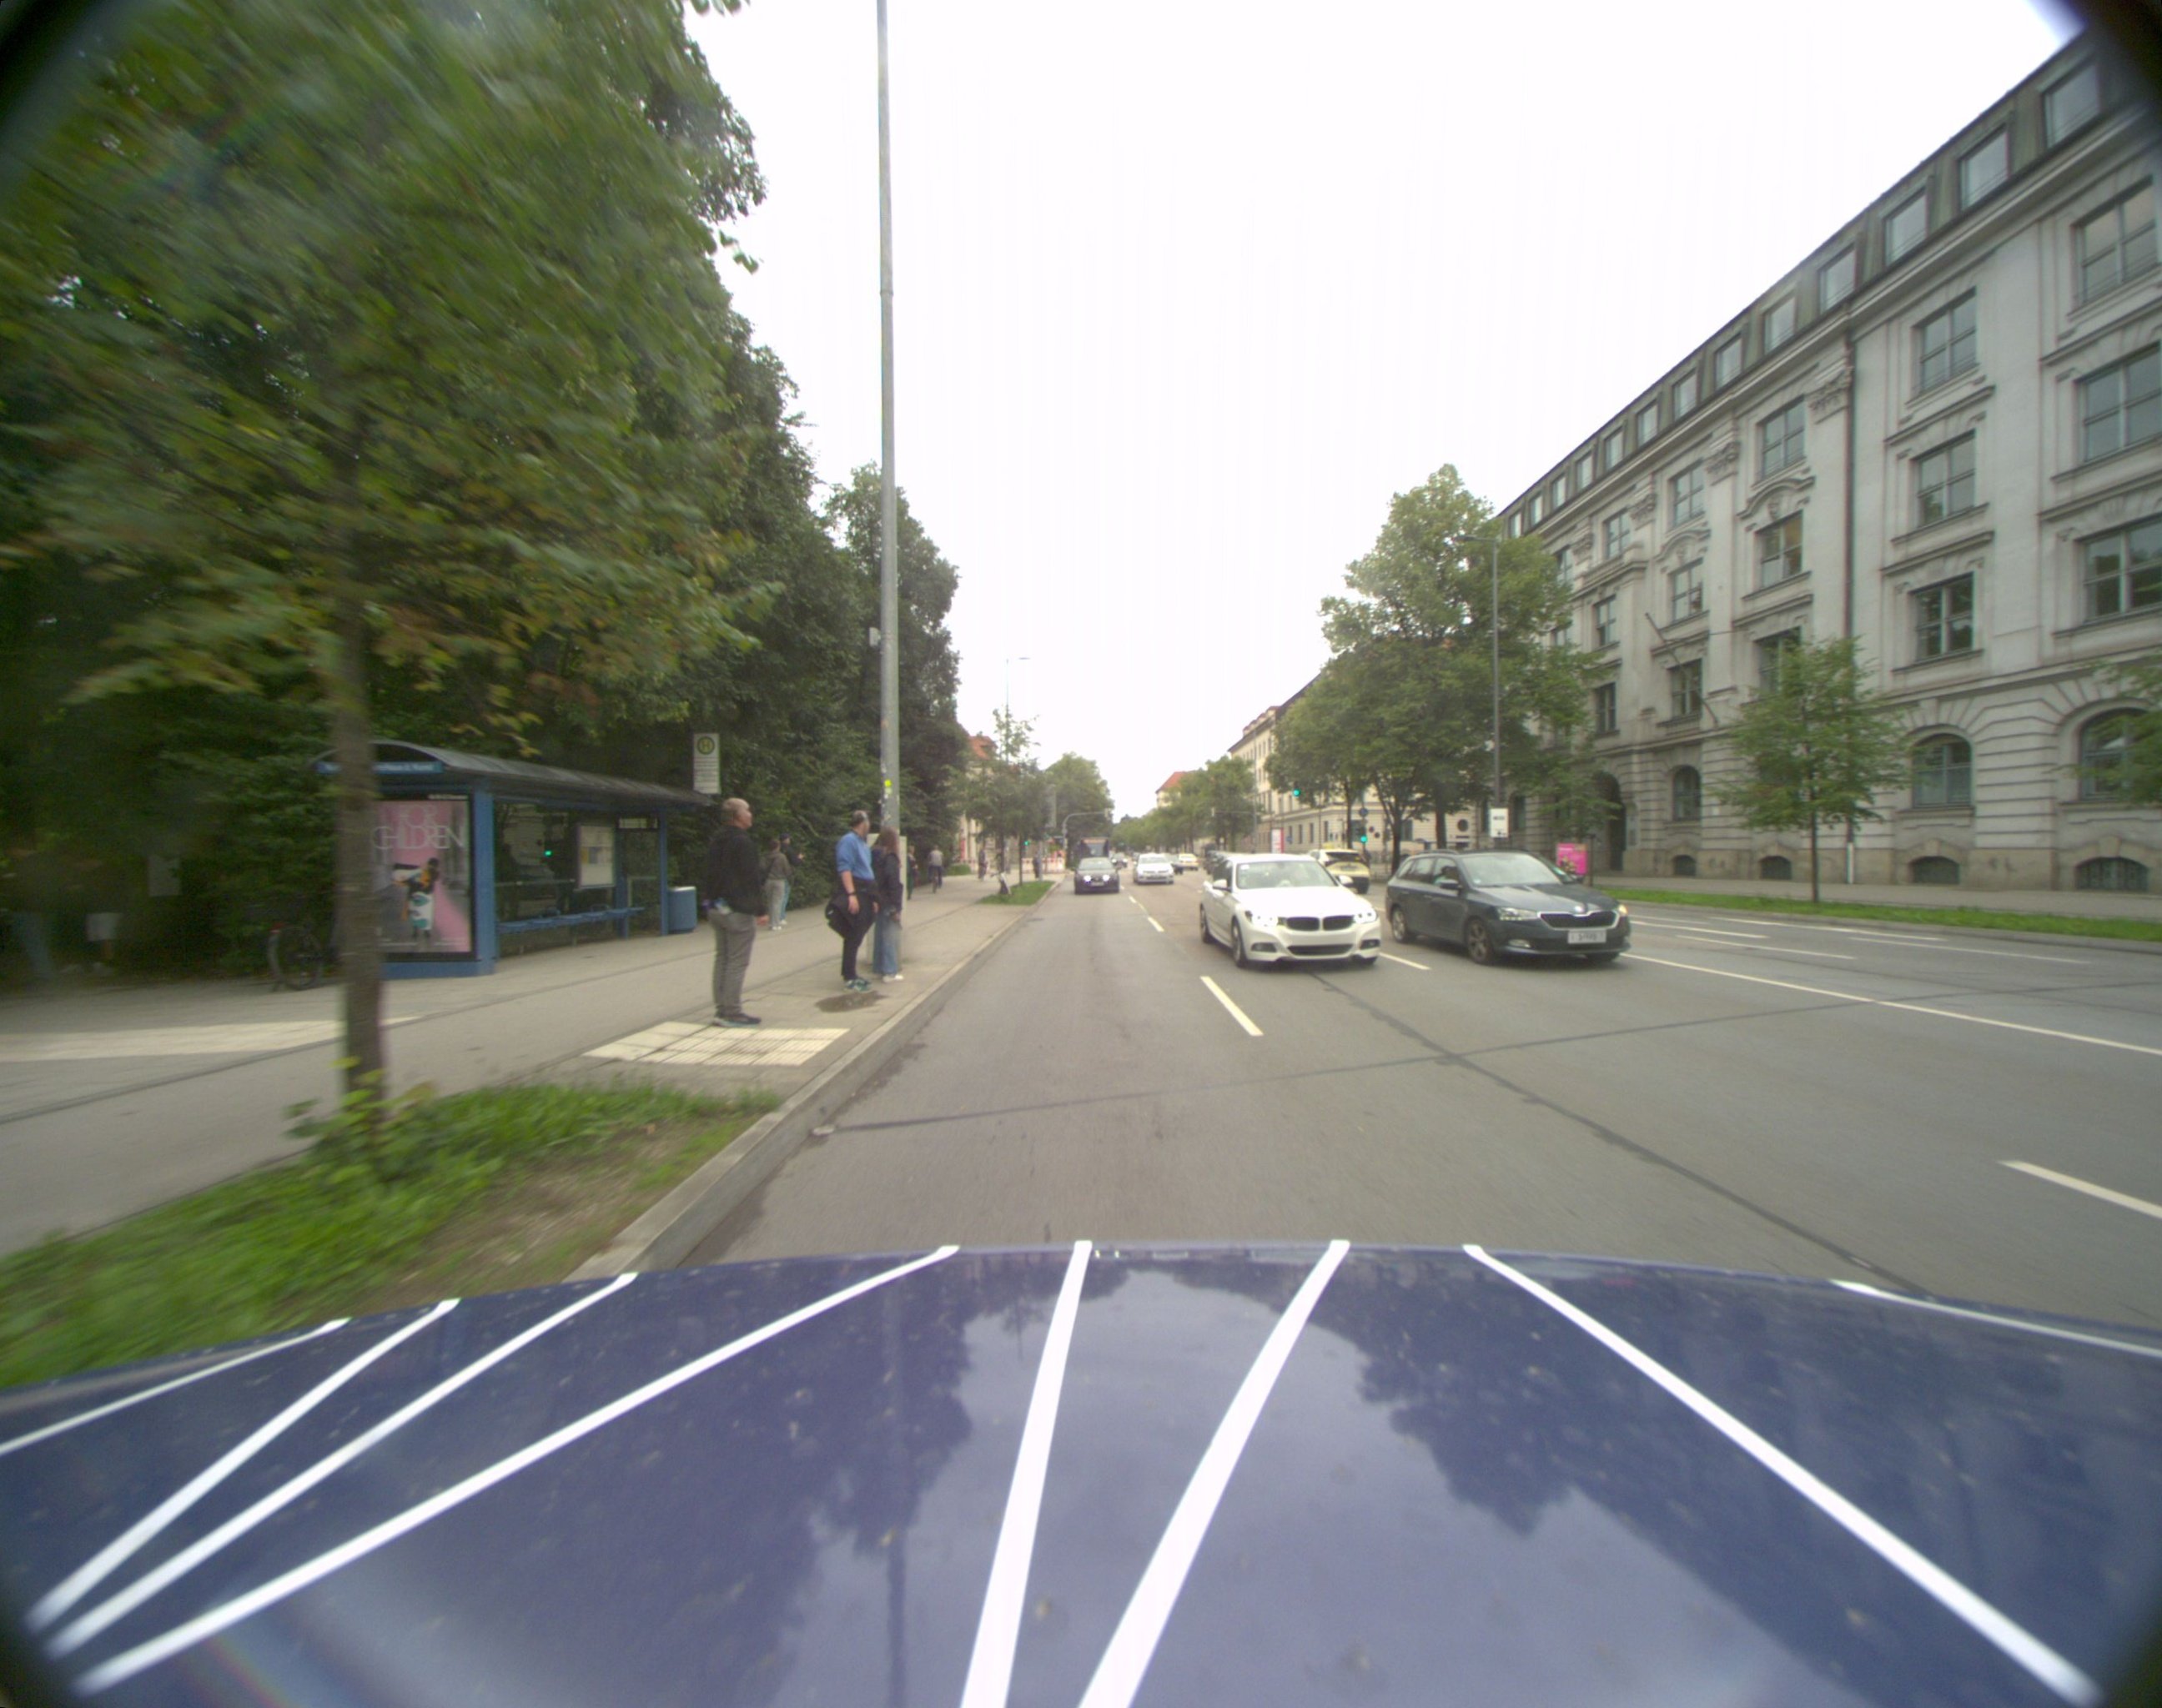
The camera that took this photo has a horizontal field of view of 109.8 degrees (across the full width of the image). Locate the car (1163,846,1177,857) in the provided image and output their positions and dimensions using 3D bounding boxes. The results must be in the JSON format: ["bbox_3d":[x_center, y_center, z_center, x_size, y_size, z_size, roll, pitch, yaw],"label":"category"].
[{"bbox_3d":[13.581,-0.428,116.451,1.748,1.587,4.000,1,0,0],"label":"car"}]

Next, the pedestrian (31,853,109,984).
[{"bbox_3d":[-14.120,0.874,10.616,0.636,1.758,0.534,-1,2,33],"label":"pedestrian"}]

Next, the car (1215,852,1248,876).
[{"bbox_3d":[9.670,0.609,49.075,1.770,1.415,4.749,1,1,7],"label":"car"}]

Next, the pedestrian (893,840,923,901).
[{"bbox_3d":[-5.255,0.490,23.153,0.672,1.828,0.641,-2,1,2],"label":"pedestrian"}]

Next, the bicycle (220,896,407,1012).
[{"bbox_3d":[-8.368,1.043,8.379,0.394,1.054,1.576,-2,1,1],"label":"bicycle"}]

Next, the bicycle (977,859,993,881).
[{"bbox_3d":[-5.151,0.836,40.718,0.740,1.051,2.161,-2,1,-8],"label":"bicycle"}]

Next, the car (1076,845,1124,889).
[{"bbox_3d":[0.755,0.473,31.193,1.797,1.627,4.274,-1,1,1],"label":"car"}]

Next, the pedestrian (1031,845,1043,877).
[{"bbox_3d":[-2.486,0.396,42.806,0.610,1.751,0.635,0,1,-5],"label":"pedestrian"}]

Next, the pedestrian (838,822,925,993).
[{"bbox_3d":[-2.188,0.572,8.420,0.710,1.798,0.639,-2,1,1],"label":"pedestrian"}]

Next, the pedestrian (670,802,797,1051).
[{"bbox_3d":[-2.818,0.546,6.159,0.804,1.870,0.545,-1,2,37],"label":"pedestrian"}]

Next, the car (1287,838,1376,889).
[{"bbox_3d":[9.245,0.315,28.437,1.861,1.738,4.629,1,1,1],"label":"car"}]

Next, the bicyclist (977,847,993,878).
[{"bbox_3d":[-5.155,0.452,40.779,0.759,1.657,0.898,-2,1,-8],"label":"bicyclist"}]

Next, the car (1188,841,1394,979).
[{"bbox_3d":[2.866,0.628,11.583,1.797,1.627,5.025,-1,1,1],"label":"car"}]

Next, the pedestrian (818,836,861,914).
[{"bbox_3d":[-6.145,0.513,19.386,0.710,1.904,0.956,-2,1,1],"label":"pedestrian"}]

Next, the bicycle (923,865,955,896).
[{"bbox_3d":[-5.095,0.929,27.359,0.676,1.024,2.012,-2,1,1],"label":"bicycle"}]

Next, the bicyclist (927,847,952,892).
[{"bbox_3d":[-5.107,0.550,27.463,0.710,1.553,0.639,-2,1,1],"label":"bicyclist"}]

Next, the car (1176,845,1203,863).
[{"bbox_3d":[9.593,0.022,67.399,1.832,1.533,4.824,0,-1,2],"label":"car"}]

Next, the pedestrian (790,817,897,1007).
[{"bbox_3d":[-2.379,0.547,7.636,0.637,1.798,0.711,-1,2,37],"label":"pedestrian"}]

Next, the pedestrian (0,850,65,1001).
[{"bbox_3d":[-12.839,0.844,9.199,0.636,1.758,0.534,-1,2,33],"label":"pedestrian"}]

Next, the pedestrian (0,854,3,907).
[{"bbox_3d":[-14.575,0.880,9.894,0.636,1.756,0.534,-1,-3,33],"label":"pedestrian"}]

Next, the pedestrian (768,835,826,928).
[{"bbox_3d":[-5.720,0.542,15.359,0.710,1.798,0.950,-2,1,1],"label":"pedestrian"}]

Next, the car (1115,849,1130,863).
[{"bbox_3d":[4.760,0.232,88.030,1.638,1.562,3.945,-1,1,1],"label":"car"}]

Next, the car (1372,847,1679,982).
[{"bbox_3d":[5.741,0.655,10.557,1.797,1.439,4.274,-1,1,1],"label":"car"}]

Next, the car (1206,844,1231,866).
[{"bbox_3d":[12.703,0.082,70.449,1.832,1.741,4.258,2,4,4],"label":"car"}]

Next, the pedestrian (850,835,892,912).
[{"bbox_3d":[-5.405,0.480,19.606,0.710,1.904,0.956,-2,1,1],"label":"pedestrian"}]

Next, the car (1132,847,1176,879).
[{"bbox_3d":[3.527,0.410,37.450,1.797,1.439,4.274,-1,1,1],"label":"car"}]

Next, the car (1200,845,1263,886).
[{"bbox_3d":[6.004,0.405,30.839,1.695,1.507,4.338,-1,1,0],"label":"car"}]

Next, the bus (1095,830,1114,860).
[{"bbox_3d":[2.086,-0.785,69.230,1.638,2.570,6.701,-1,1,1],"label":"bus"}]

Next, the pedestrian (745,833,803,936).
[{"bbox_3d":[-5.553,0.536,13.772,0.710,1.798,0.639,-2,1,1],"label":"pedestrian"}]
